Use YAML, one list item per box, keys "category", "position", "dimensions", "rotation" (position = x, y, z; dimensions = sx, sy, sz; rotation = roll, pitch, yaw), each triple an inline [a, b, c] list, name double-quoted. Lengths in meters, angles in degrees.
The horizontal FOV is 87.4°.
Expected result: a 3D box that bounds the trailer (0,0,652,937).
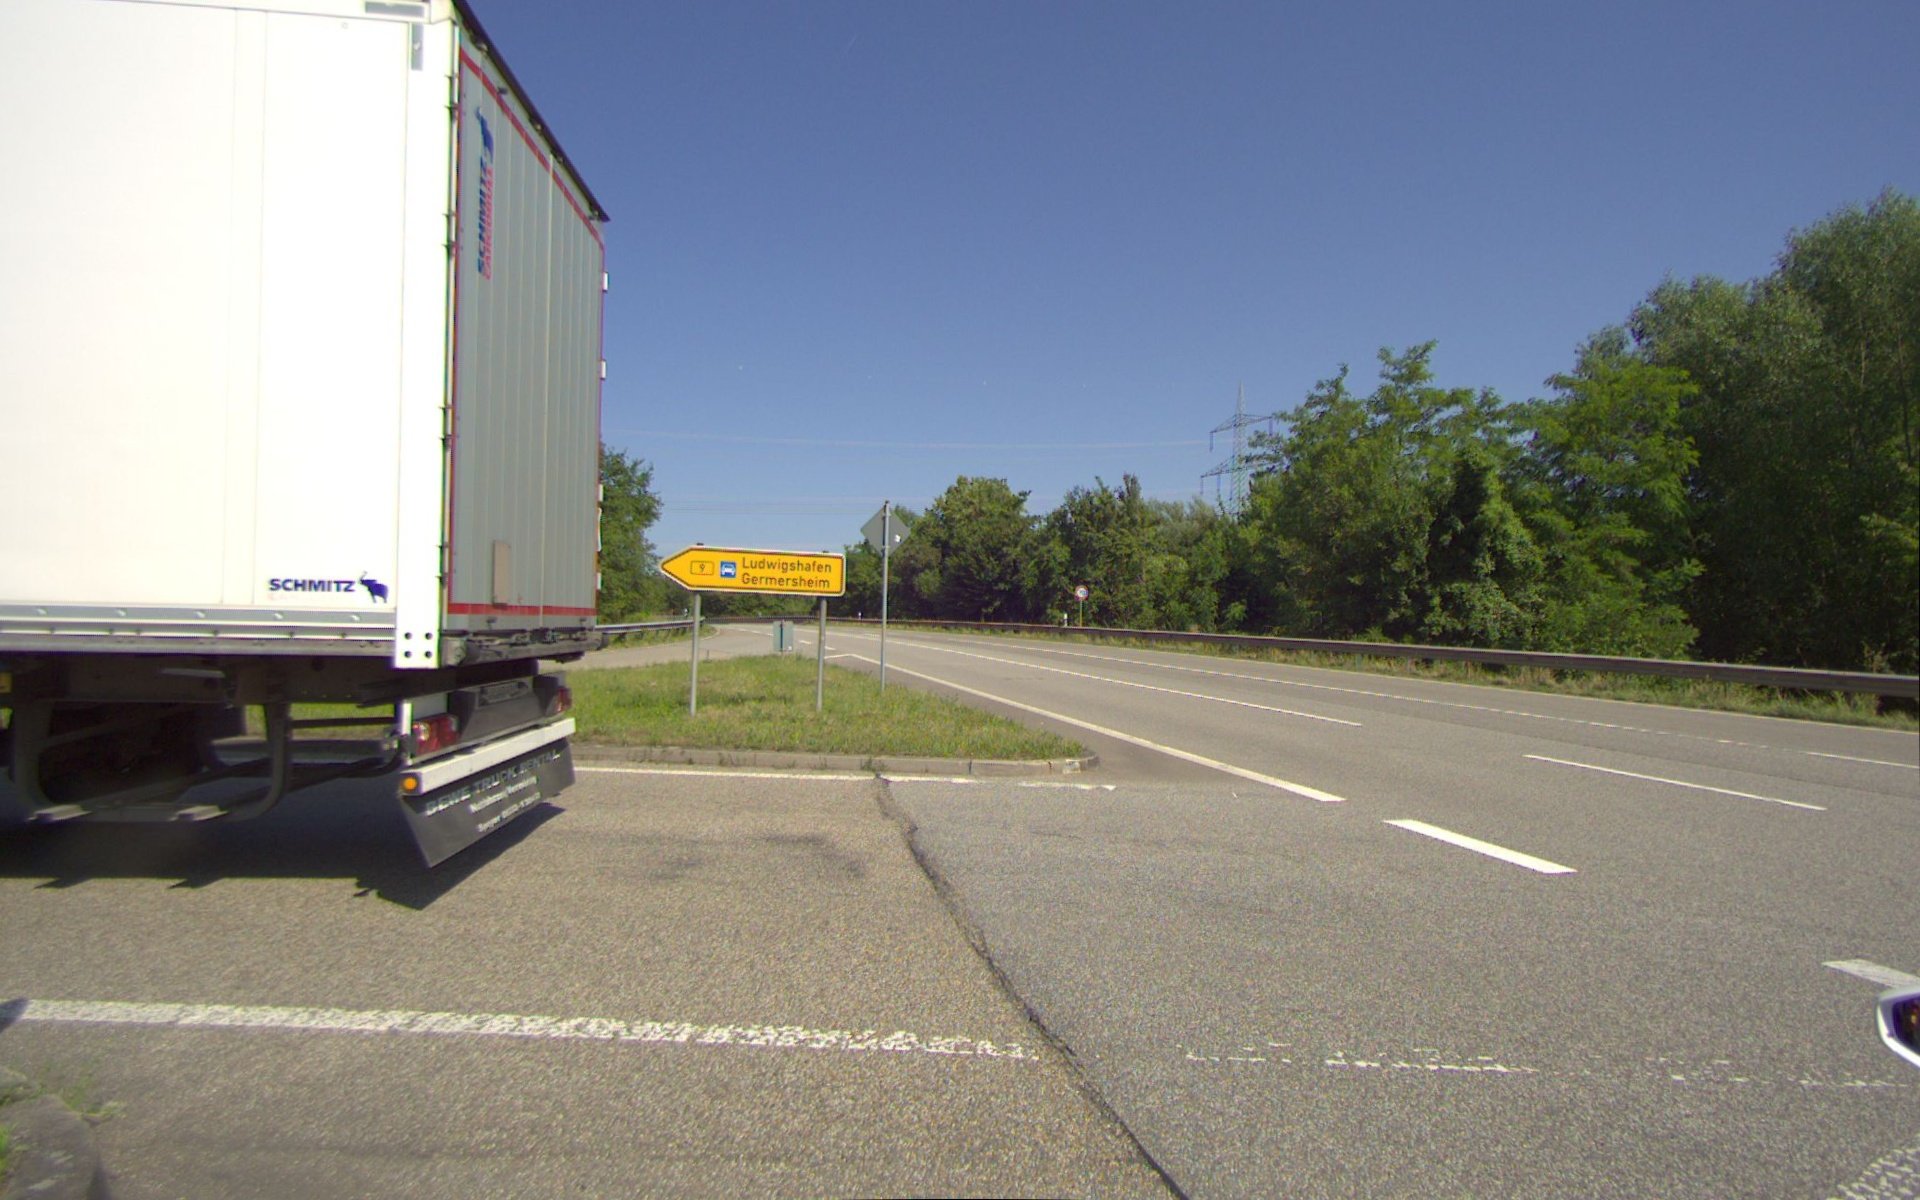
- category: "trailer"
  position: [-8.948, -0.871, 5.070]
  dimensions: [13.715, 4.221, 2.894]
  rotation: [1, 0, -5]
